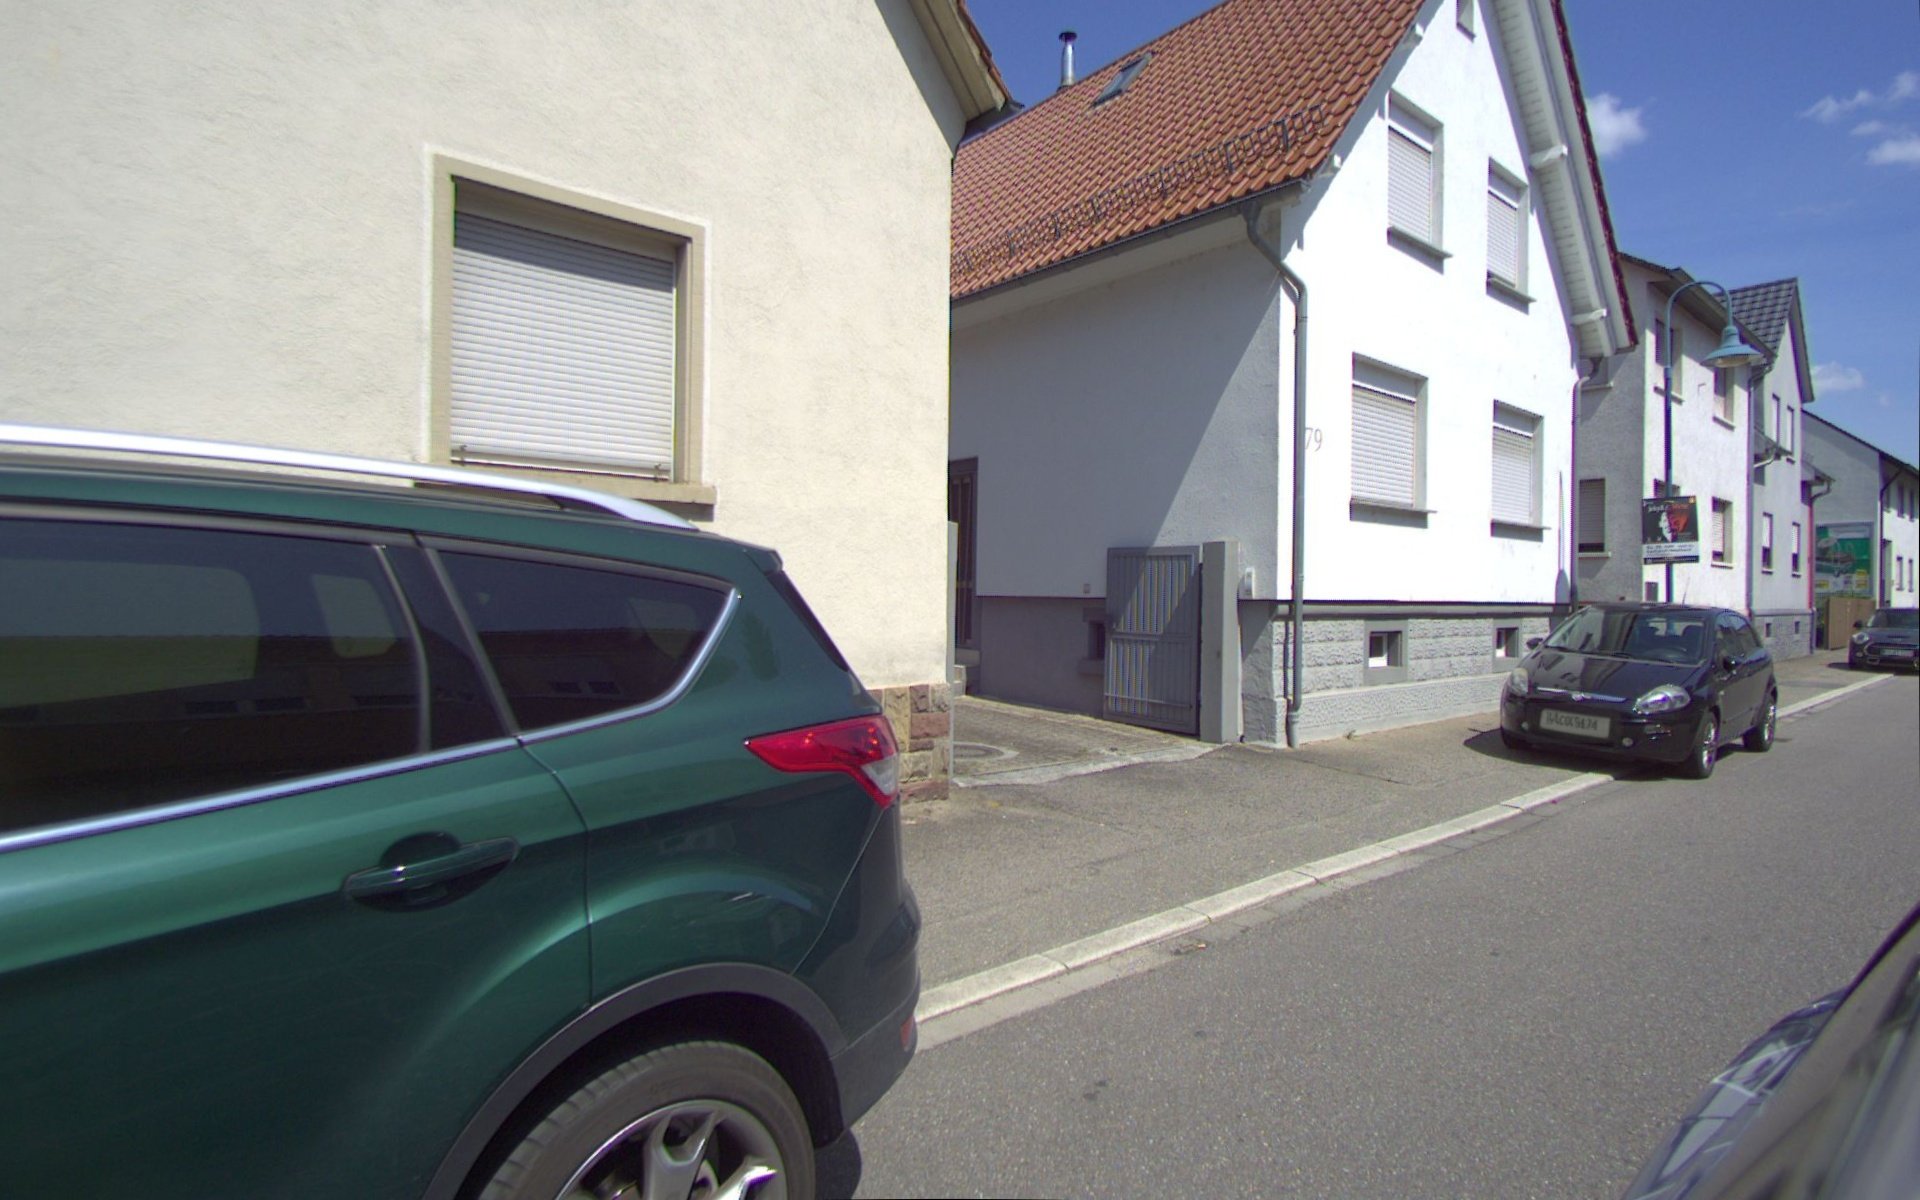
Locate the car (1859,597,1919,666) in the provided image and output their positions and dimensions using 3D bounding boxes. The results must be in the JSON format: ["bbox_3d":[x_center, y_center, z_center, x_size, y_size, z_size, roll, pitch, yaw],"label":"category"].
[{"bbox_3d":[21.553,0.674,22.685,3.593,1.440,1.691,0,0,-42],"label":"car"}]

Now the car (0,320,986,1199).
[{"bbox_3d":[-2.054,0.551,1.370,4.204,1.738,1.730,0,0,-44],"label":"car"}]

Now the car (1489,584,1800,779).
[{"bbox_3d":[6.946,0.655,10.111,3.903,1.514,1.620,0,3,-42],"label":"car"}]
